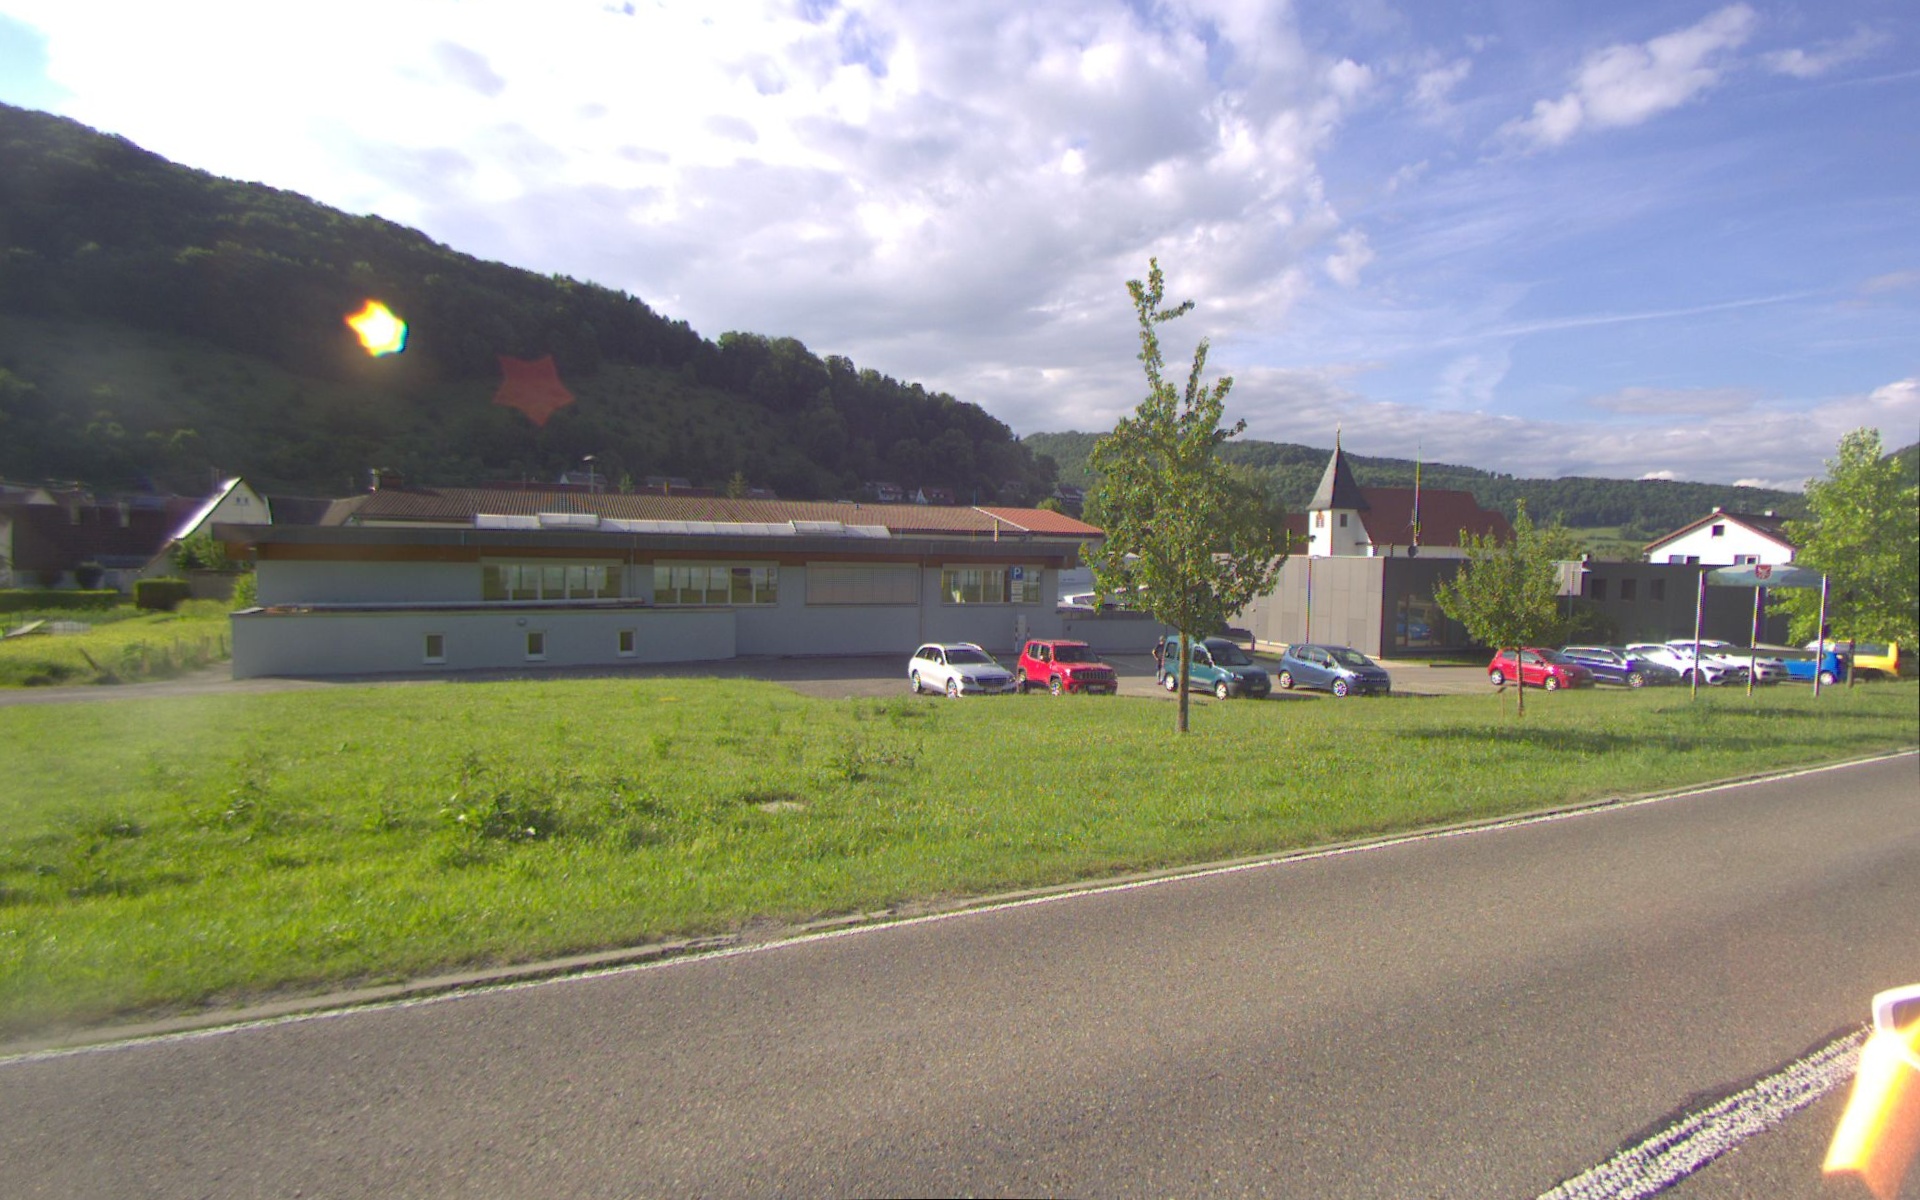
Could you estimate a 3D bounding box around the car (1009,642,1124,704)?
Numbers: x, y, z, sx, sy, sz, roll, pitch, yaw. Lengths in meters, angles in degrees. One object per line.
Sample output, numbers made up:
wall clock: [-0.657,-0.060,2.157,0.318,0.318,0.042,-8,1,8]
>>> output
car: [3.056,2.092,29.527,1.730,1.600,3.912,1,-1,-22]

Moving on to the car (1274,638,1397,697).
car: [12.351,2.175,33.314,1.707,1.744,3.811,1,-1,-22]

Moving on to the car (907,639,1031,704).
car: [0.141,2.000,29.063,1.971,1.610,4.632,1,-1,-22]

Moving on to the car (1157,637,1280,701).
car: [8.082,2.111,31.714,1.731,1.745,3.851,2,0,-24]

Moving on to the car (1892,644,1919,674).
car: [48.620,2.975,49.460,1.487,1.458,3.706,2,-1,-21]

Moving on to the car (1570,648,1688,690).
car: [26.034,2.640,39.214,1.573,1.424,3.619,0,-1,-21]

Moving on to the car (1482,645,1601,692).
car: [21.535,2.500,37.331,1.624,1.463,3.618,0,1,-21]

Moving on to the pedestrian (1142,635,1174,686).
pedestrian: [6.883,2.096,34.894,0.696,1.716,0.791,2,1,-26]

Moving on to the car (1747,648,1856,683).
car: [37.256,2.870,44.546,1.640,1.392,3.355,2,-1,-28]

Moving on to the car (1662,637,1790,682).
car: [31.944,2.443,42.010,1.573,1.695,4.070,2,-1,-21]

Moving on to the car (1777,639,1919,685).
car: [39.777,2.729,45.094,1.814,1.839,4.546,2,-1,-21]

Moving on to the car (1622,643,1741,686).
car: [28.946,2.554,40.422,1.573,1.513,3.660,0,-1,-21]
